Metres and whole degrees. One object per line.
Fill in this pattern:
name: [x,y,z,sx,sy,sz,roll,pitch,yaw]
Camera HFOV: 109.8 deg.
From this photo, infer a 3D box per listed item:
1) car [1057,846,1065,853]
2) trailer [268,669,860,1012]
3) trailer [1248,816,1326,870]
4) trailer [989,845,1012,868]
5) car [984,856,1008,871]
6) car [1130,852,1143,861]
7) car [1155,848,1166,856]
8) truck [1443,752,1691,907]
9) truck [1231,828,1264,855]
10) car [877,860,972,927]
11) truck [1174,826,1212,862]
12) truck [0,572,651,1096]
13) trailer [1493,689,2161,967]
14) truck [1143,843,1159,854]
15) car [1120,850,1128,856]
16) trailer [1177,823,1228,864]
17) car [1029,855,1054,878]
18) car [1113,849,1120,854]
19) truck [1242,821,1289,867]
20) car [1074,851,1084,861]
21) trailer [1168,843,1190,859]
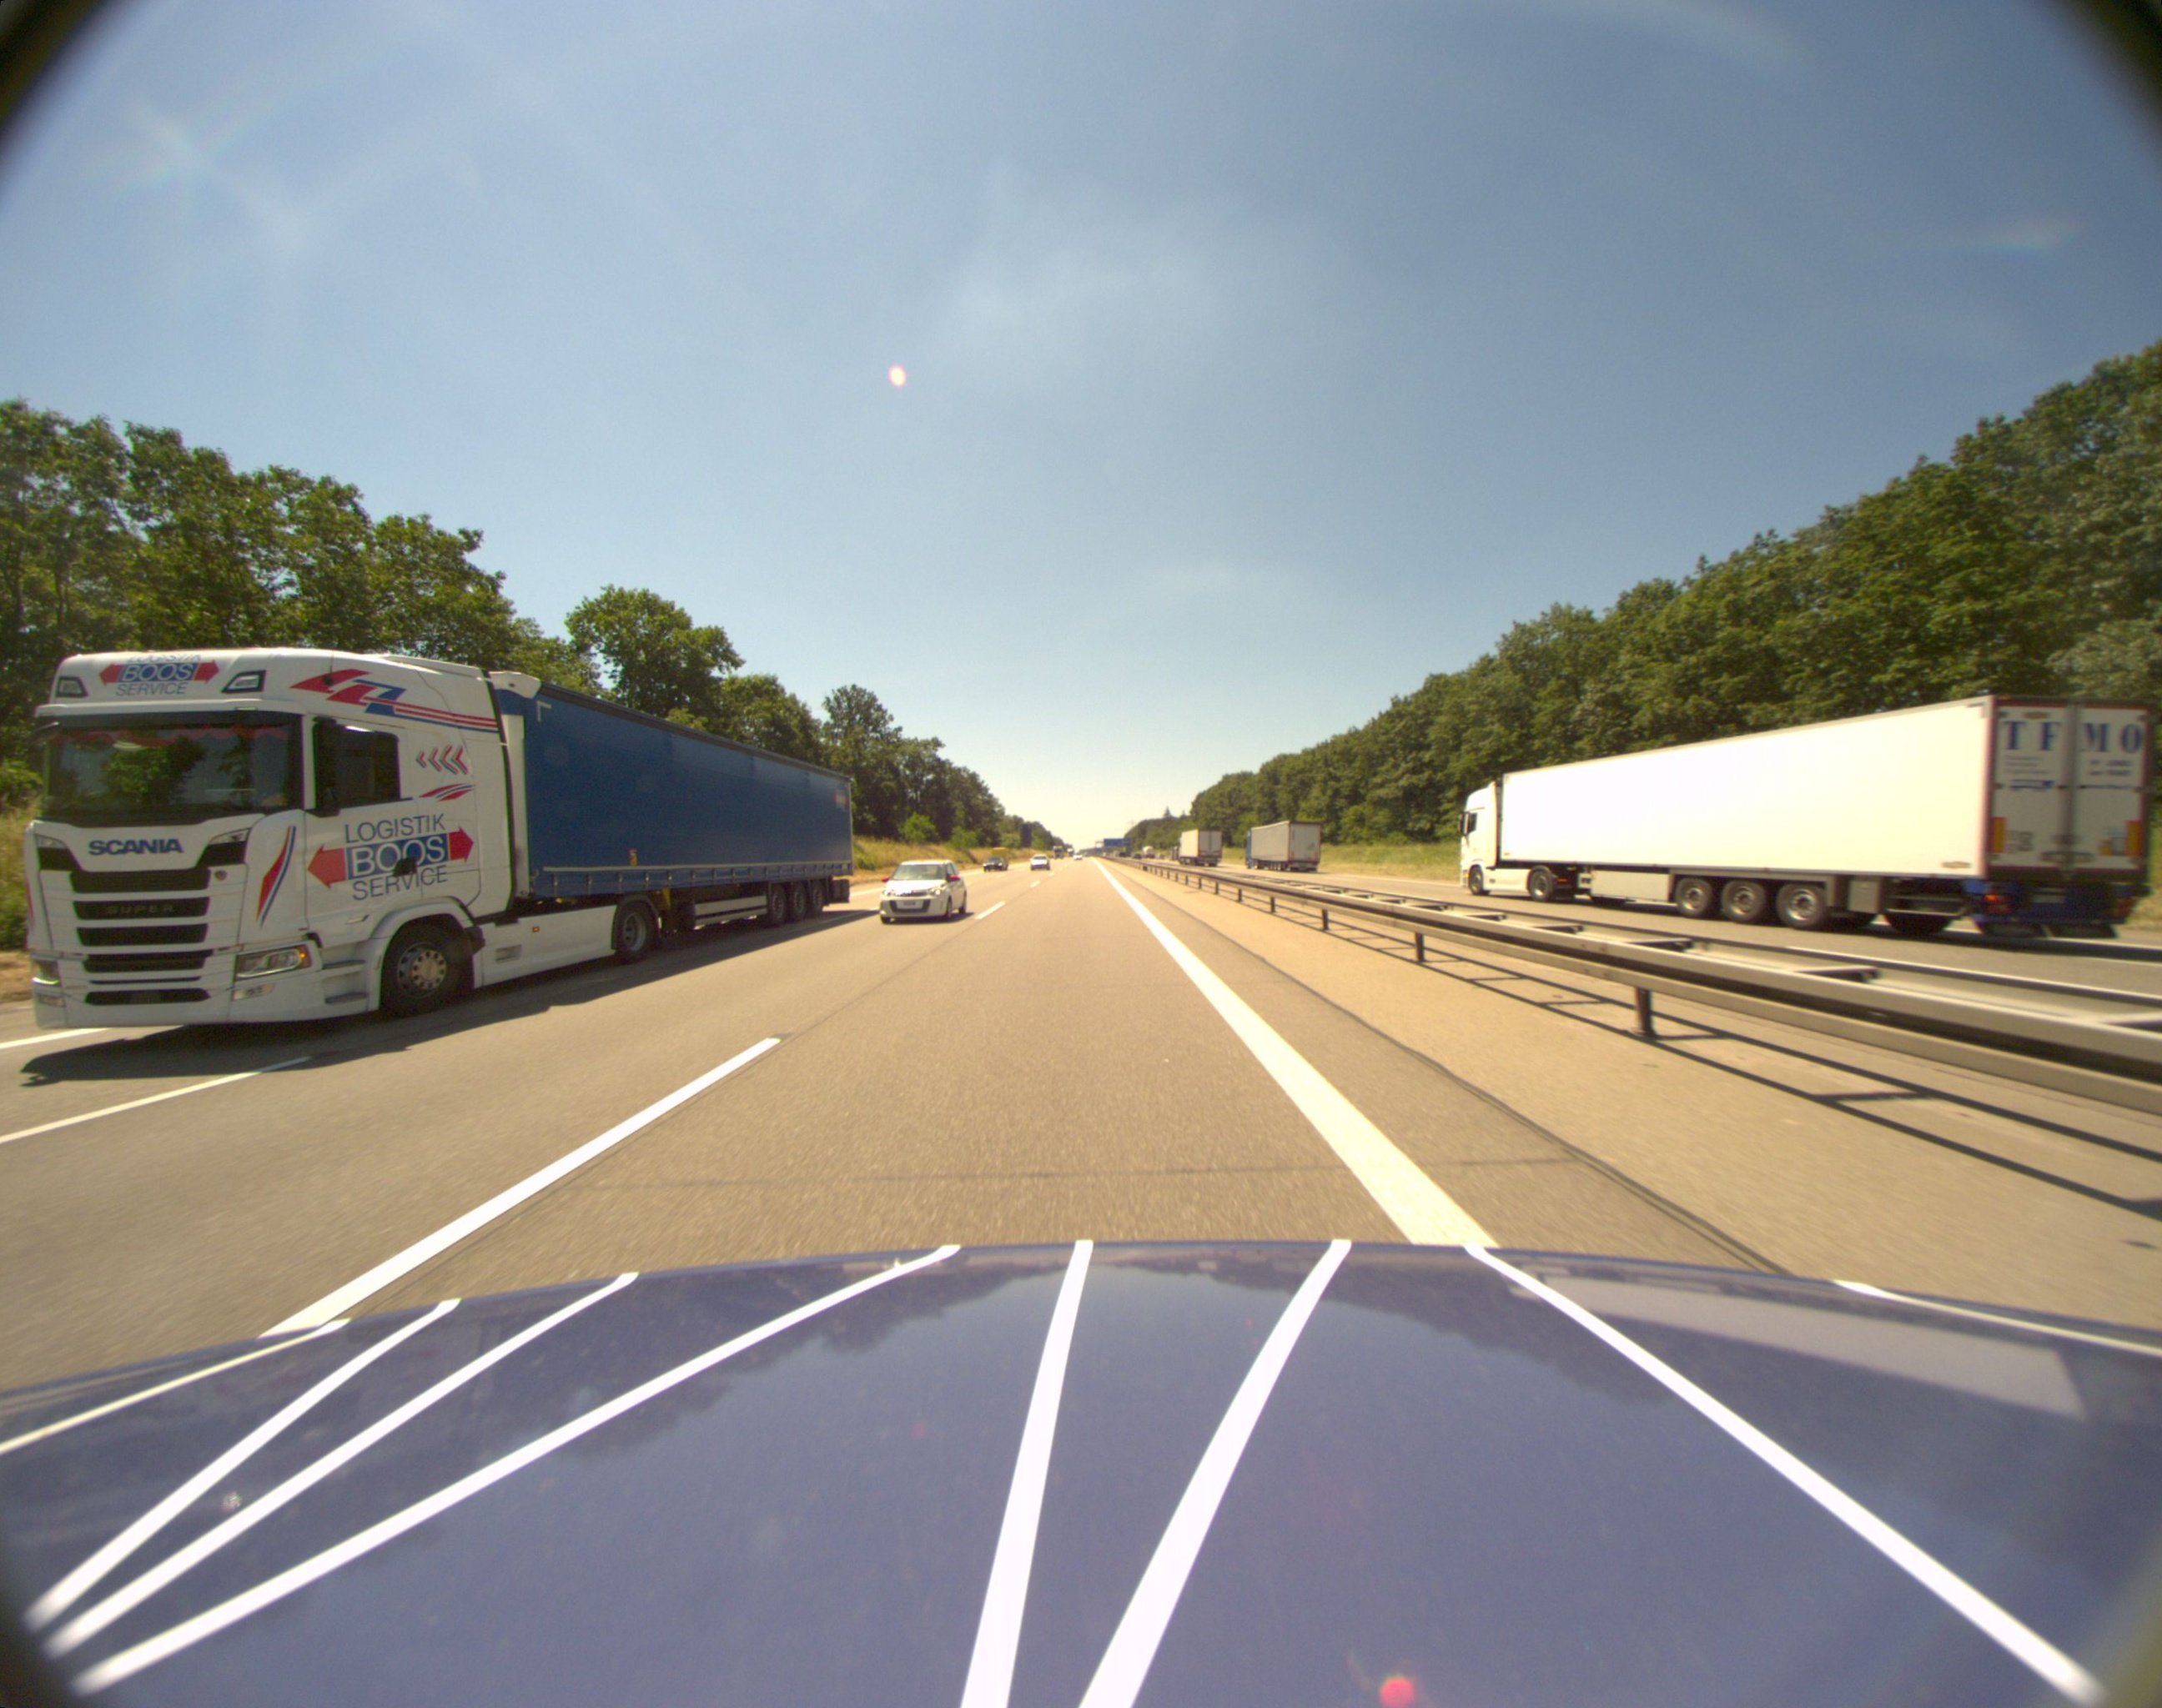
car: [-5.902,-1.366,221.397,1.998,2.002,4.000,-2,1,1]
trailer: [-8.171,-0.222,16.069,2.603,3.980,14.079,-2,1,1]
trailer: [17.743,-0.902,66.715,2.940,4.160,13.853,2,1,0]
trailer: [-8.134,0.206,76.774,1.849,2.196,3.196,-2,1,1]
car: [-8.164,0.916,73.510,1.845,1.275,3.352,-2,1,1]
car: [10.349,0.434,141.840,1.781,1.543,3.998,-2,1,-3]
car: [19.639,-0.531,188.035,1.999,2.002,3.999,-2,1,-2]
truck: [15.529,-0.738,25.187,3.539,4.296,7.057,2,1,0]
truck: [18.145,-1.374,83.255,2.162,2.752,6.107,-2,1,0]
car: [-3.814,0.925,19.026,1.581,1.412,3.352,-2,1,1]
truck: [13.658,-1.247,93.475,3.539,4.160,7.112,2,1,0]
truck: [-8.235,-0.147,8.940,2.603,3.980,6.173,-2,1,1]
trailer: [15.509,-0.452,18.423,3.539,4.160,13.604,2,1,0]
truck: [19.564,-1.598,212.402,3.541,2.750,8.794,-2,1,0]
car: [11.601,-0.262,205.121,1.780,1.543,3.999,-2,1,-1]
trailer: [13.675,-1.178,86.722,3.539,4.160,13.661,2,1,0]
car: [-3.720,1.142,72.141,1.998,2.002,3.999,-2,1,1]
car: [11.132,-0.909,238.402,1.780,1.543,3.999,-2,1,-1]
truck: [17.762,-0.971,73.392,2.940,4.160,6.039,2,1,0]
car: [-0.489,0.388,163.701,1.998,2.002,4.000,-2,1,1]
trailer: [18.630,-0.628,145.057,3.230,2.958,7.174,-2,1,0]
